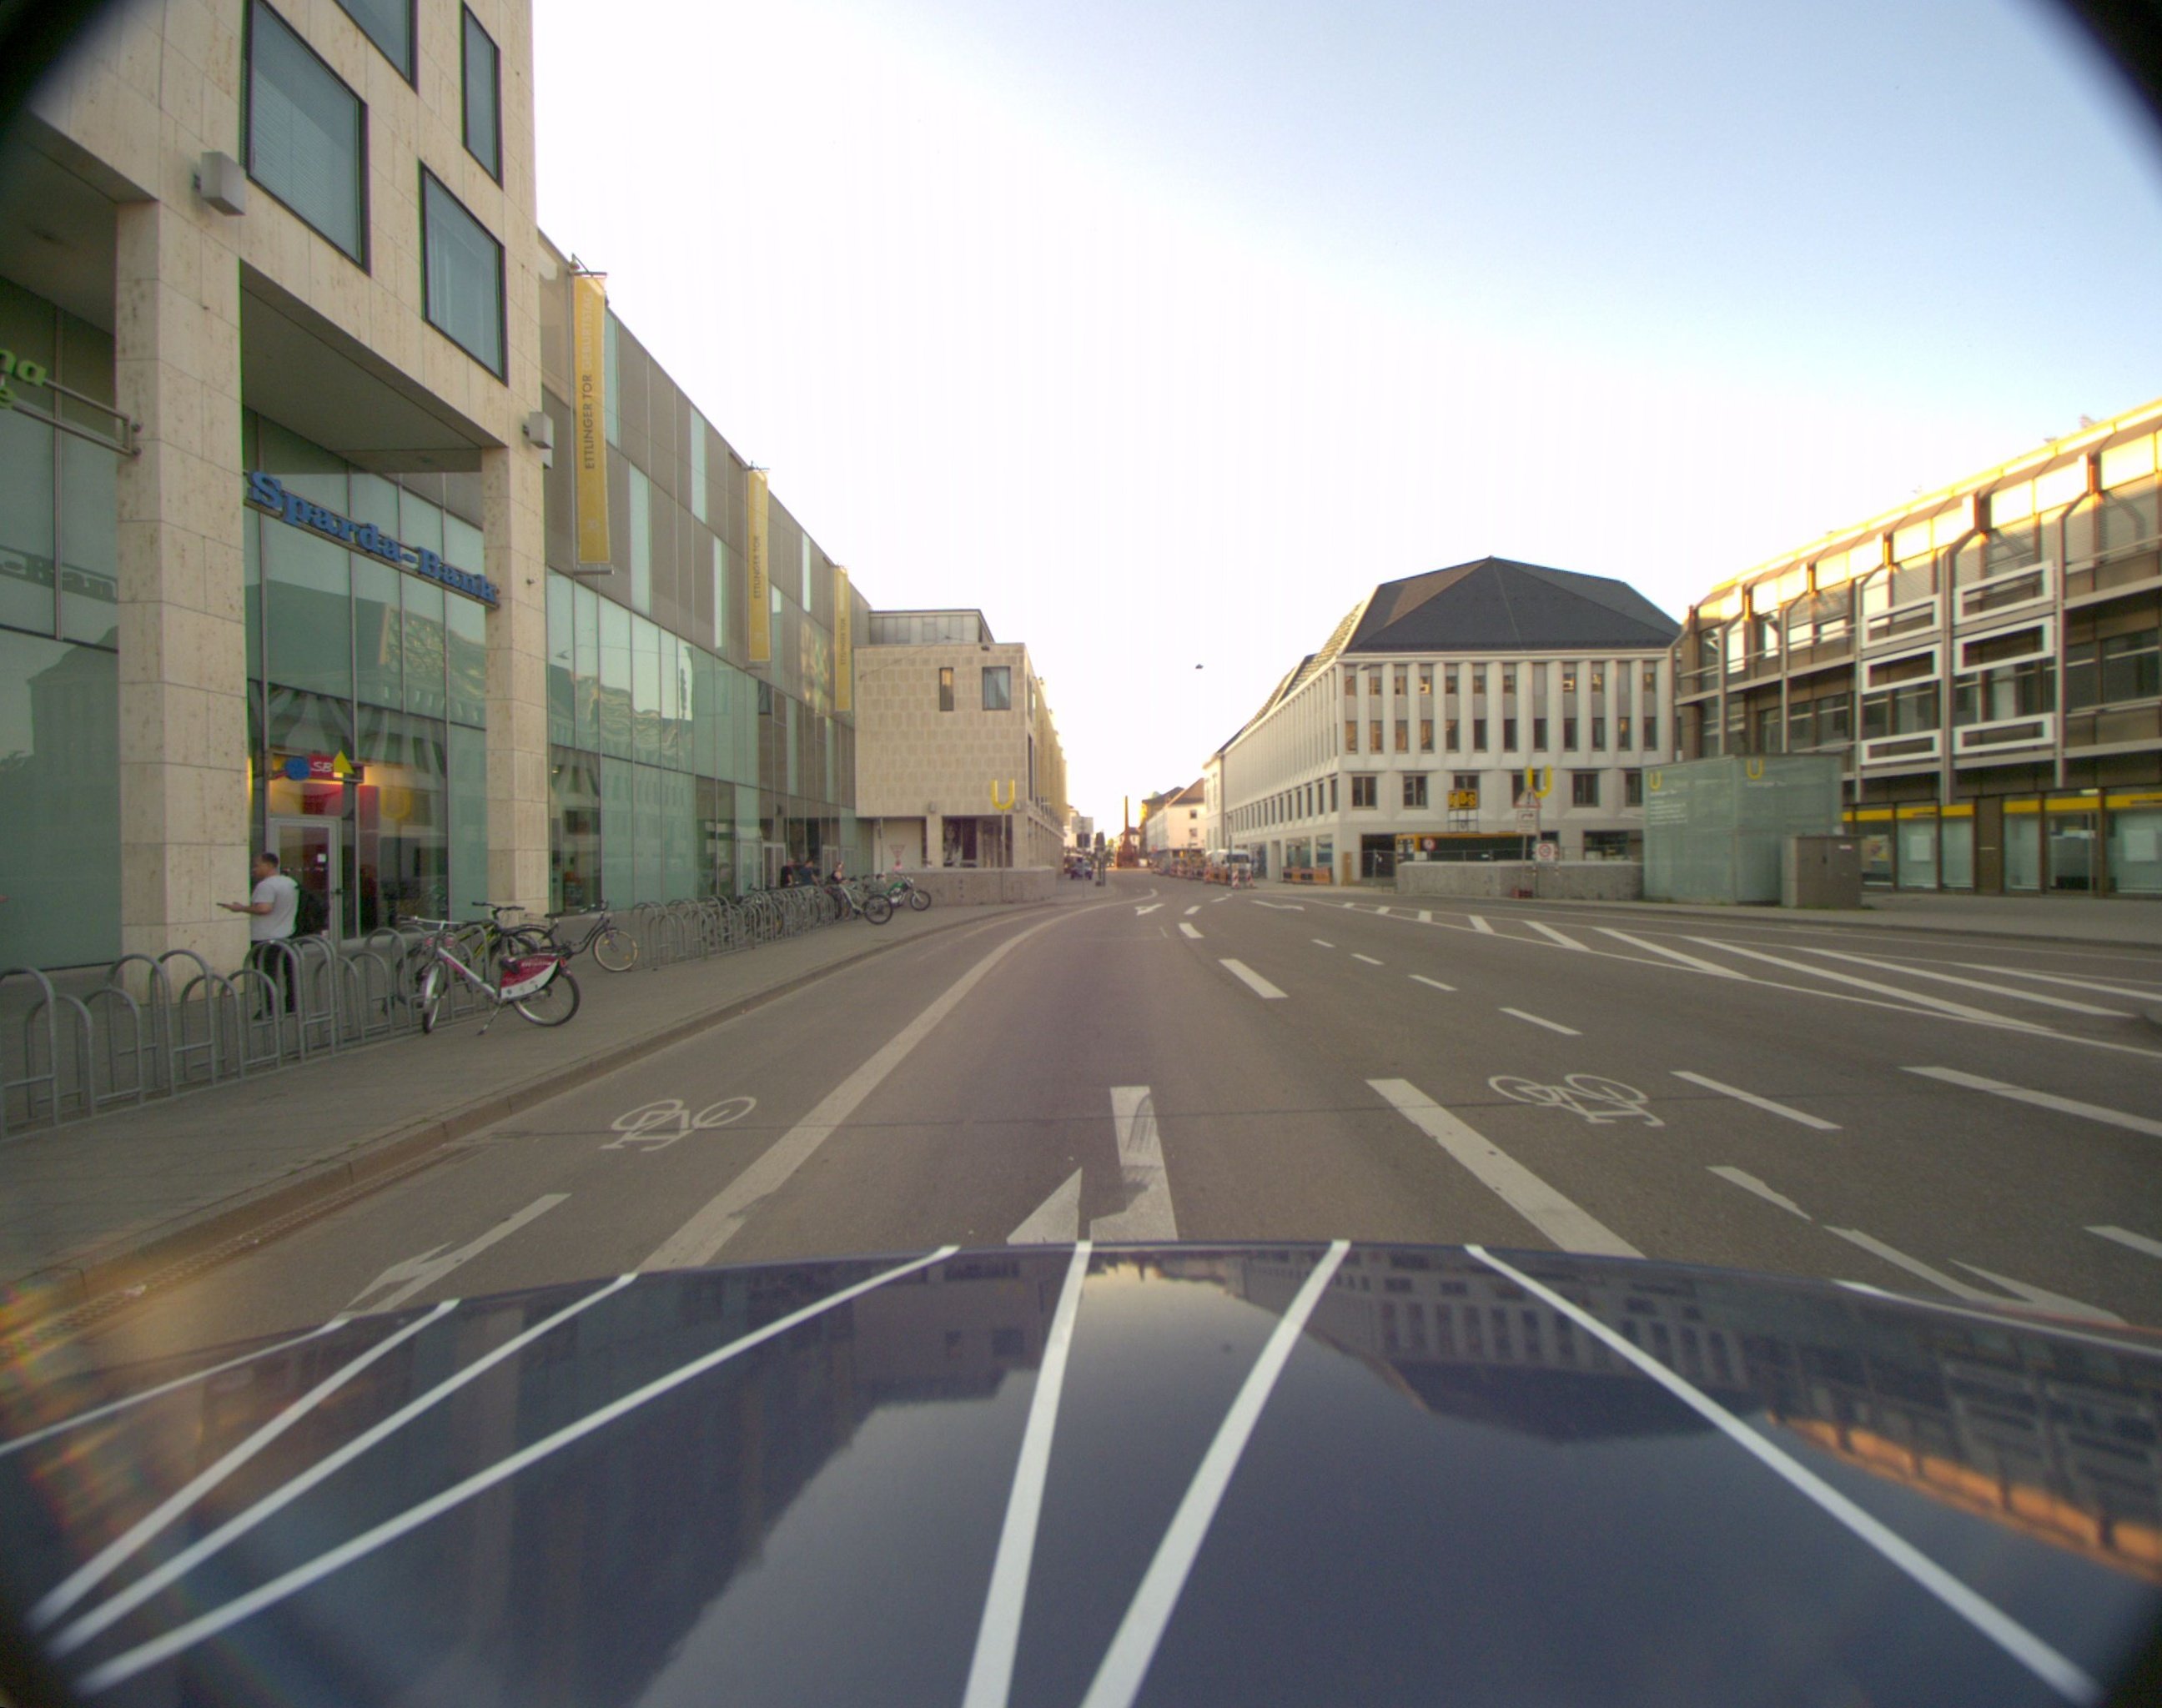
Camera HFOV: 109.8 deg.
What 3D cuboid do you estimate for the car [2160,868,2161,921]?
[{"bbox_3d":[4.850,0.731,0.592,1.762,1.454,4.380,-2,0,0],"label":"car"}]

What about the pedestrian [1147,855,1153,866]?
[{"bbox_3d":[9.870,0.910,108.212,0.692,1.628,0.597,-2,0,16],"label":"pedestrian"}]

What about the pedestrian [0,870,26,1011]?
[{"bbox_3d":[-12.982,1.014,8.758,0.629,1.642,0.708,-1,0,2],"label":"pedestrian"}]

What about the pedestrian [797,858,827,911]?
[{"bbox_3d":[-8.776,0.973,24.814,0.698,1.686,0.820,-1,0,-1],"label":"pedestrian"}]

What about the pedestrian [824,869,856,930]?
[{"bbox_3d":[-6.668,1.250,21.043,0.809,1.633,0.646,-1,0,-18],"label":"pedestrian"}]

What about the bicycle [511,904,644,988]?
[{"bbox_3d":[-7.301,1.314,11.073,1.447,1.058,0.580,-3,0,-10],"label":"bicycle"}]

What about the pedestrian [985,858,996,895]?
[{"bbox_3d":[-4.338,1.067,36.481,0.454,1.733,0.493,-1,0,3],"label":"pedestrian"}]

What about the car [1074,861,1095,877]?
[{"bbox_3d":[0.336,1.297,67.773,1.798,1.365,3.671,-1,0,2],"label":"car"}]

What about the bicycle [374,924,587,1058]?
[{"bbox_3d":[-5.397,1.218,6.867,1.518,1.057,0.466,-3,0,1],"label":"bicycle"}]

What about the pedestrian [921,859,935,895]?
[{"bbox_3d":[-7.417,1.106,36.920,0.494,1.733,0.657,-1,0,3],"label":"pedestrian"}]

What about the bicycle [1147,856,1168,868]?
[{"bbox_3d":[13.198,1.399,130.763,3.696,2.002,1.024,-1,0,39],"label":"bicycle"}]

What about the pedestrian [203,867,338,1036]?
[{"bbox_3d":[-8.416,0.981,7.913,0.707,1.682,0.629,-1,0,1],"label":"pedestrian"}]

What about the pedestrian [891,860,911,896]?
[{"bbox_3d":[-8.736,1.158,36.874,0.793,1.733,0.657,-1,0,3],"label":"pedestrian"}]

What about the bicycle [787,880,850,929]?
[{"bbox_3d":[-6.602,1.265,19.164,1.345,1.157,0.518,-3,0,-1],"label":"bicycle"}]

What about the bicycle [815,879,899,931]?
[{"bbox_3d":[-5.387,1.218,18.320,1.838,1.140,0.466,-3,0,1],"label":"bicycle"}]

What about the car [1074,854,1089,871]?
[{"bbox_3d":[0.057,1.154,100.735,1.798,2.198,3.671,-1,0,2],"label":"car"}]

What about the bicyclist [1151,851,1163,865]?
[{"bbox_3d":[13.077,0.637,130.853,1.547,2.391,1.208,-1,0,38],"label":"bicyclist"}]

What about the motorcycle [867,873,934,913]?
[{"bbox_3d":[-5.708,1.241,24.085,2.007,1.217,0.480,-1,0,-2],"label":"motorcycle"}]

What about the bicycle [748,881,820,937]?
[{"bbox_3d":[-6.657,1.237,17.078,1.345,1.157,0.518,-3,0,-1],"label":"bicycle"}]

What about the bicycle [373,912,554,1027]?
[{"bbox_3d":[-6.796,1.258,8.393,1.518,1.117,0.581,-3,0,4],"label":"bicycle"}]

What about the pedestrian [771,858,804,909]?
[{"bbox_3d":[-9.569,0.952,24.829,0.740,1.638,0.820,-1,0,-1],"label":"pedestrian"}]

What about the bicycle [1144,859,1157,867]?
[{"bbox_3d":[9.932,1.288,108.183,1.770,1.036,0.599,-1,0,16],"label":"bicycle"}]

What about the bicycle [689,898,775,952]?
[{"bbox_3d":[-6.653,1.344,14.504,1.345,0.927,0.518,-3,0,-1],"label":"bicycle"}]

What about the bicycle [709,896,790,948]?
[{"bbox_3d":[-6.595,1.353,15.150,1.345,0.927,0.518,-3,0,-1],"label":"bicycle"}]

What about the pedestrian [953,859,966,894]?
[{"bbox_3d":[-6.070,1.104,38.011,0.504,1.733,0.493,-1,0,3],"label":"pedestrian"}]

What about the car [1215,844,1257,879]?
[{"bbox_3d":[11.989,0.589,59.163,2.141,2.540,6.050,-1,0,1],"label":"car"}]
